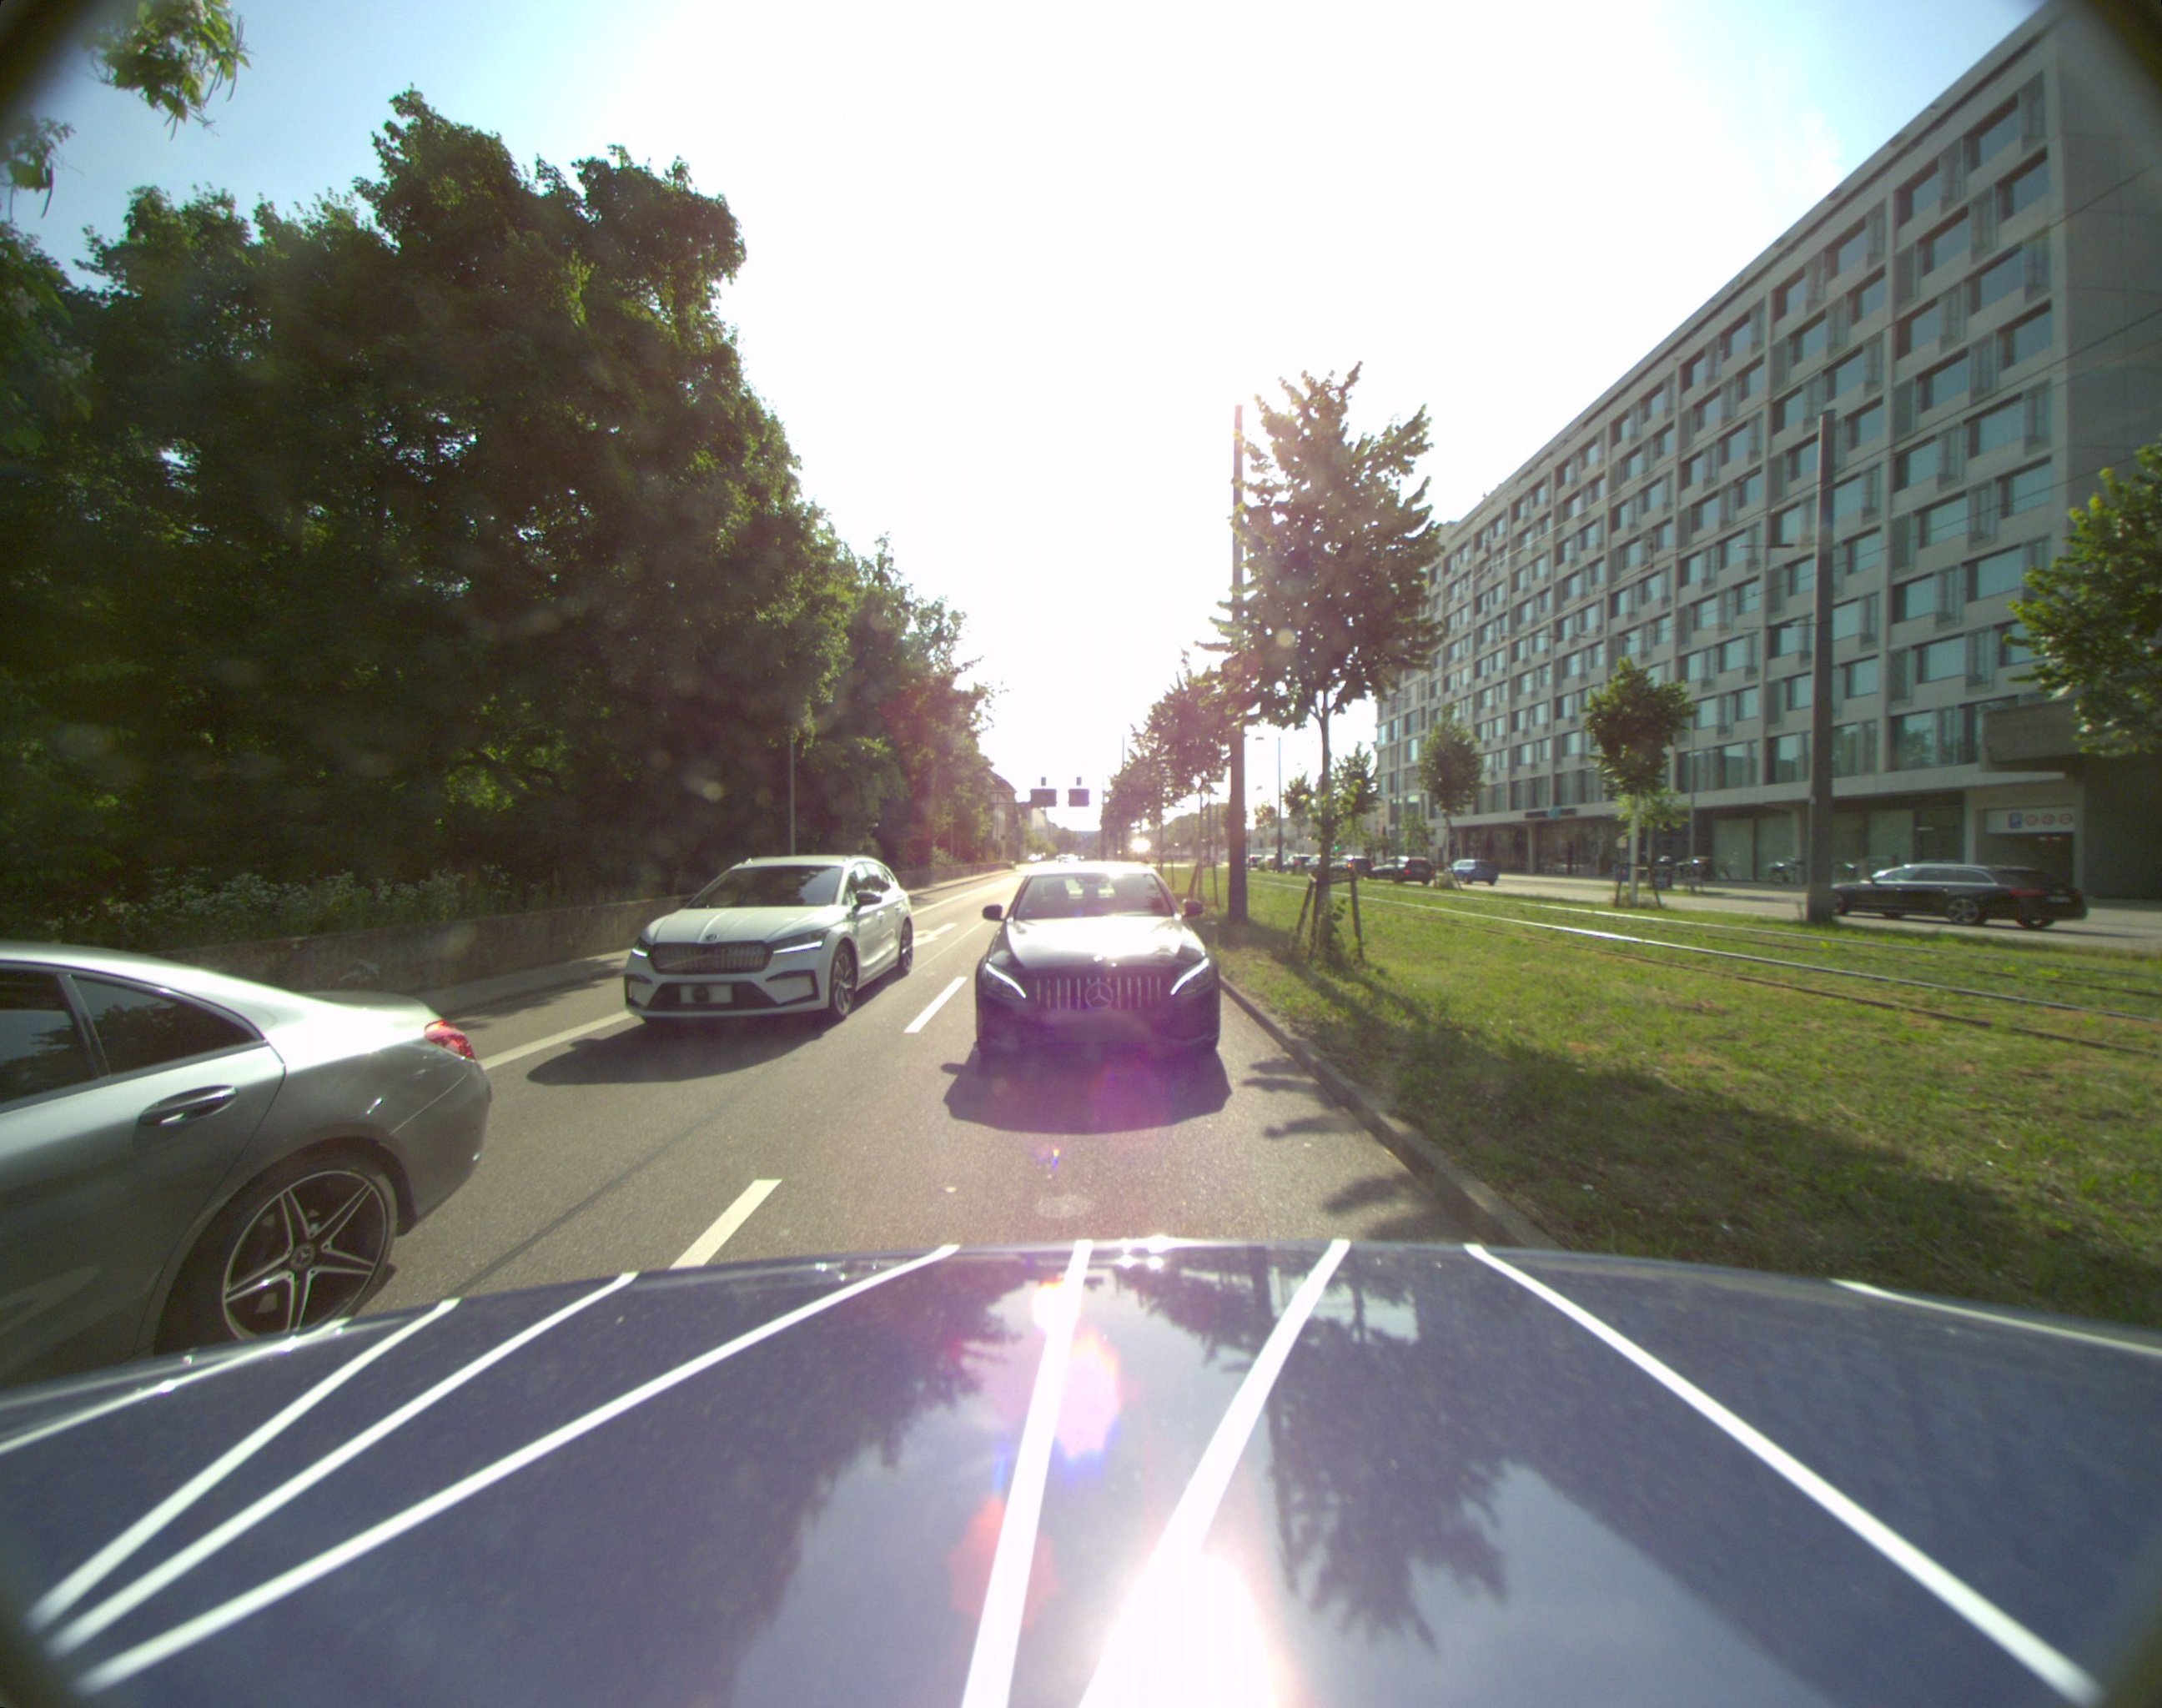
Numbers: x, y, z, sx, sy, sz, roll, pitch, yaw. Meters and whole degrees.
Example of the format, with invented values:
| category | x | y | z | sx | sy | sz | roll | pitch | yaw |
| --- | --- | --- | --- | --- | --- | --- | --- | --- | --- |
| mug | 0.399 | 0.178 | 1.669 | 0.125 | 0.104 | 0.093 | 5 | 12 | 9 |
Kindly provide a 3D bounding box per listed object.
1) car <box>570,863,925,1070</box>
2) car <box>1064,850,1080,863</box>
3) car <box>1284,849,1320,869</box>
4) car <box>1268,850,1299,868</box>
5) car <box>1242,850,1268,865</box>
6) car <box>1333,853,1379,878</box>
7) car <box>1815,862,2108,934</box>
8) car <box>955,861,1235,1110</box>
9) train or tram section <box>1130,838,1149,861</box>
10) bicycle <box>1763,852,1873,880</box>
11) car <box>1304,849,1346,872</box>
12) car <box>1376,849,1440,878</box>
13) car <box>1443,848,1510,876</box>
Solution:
| category | x | y | z | sx | sy | sz | roll | pitch | yaw |
| --- | --- | --- | --- | --- | --- | --- | --- | --- | --- |
| car | -3.131 | 0.939 | 8.265 | 1.897 | 1.561 | 4.250 | -1 | 0 | 1 |
| car | -1.148 | 0.257 | 96.553 | 1.998 | 1.630 | 4.000 | 0 | 0 | 0 |
| car | 17.355 | 0.354 | 59.784 | 1.812 | 1.565 | 4.000 | 0 | 0 | 3 |
| car | 17.648 | 0.400 | 66.324 | 1.812 | 1.466 | 4.000 | 0 | 0 | 3 |
| car | 17.500 | 0.323 | 76.572 | 1.787 | 1.516 | 4.000 | 0 | 0 | 1 |
| car | 17.272 | 0.680 | 47.926 | 1.745 | 1.478 | 3.641 | 0 | 0 | 3 |
| car | 21.331 | 0.989 | 18.767 | 1.999 | 1.482 | 4.417 | 0 | 0 | -4 |
| car | 0.121 | 0.876 | 7.224 | 1.760 | 1.437 | 4.617 | -2 | 1 | 1 |
| train or tram section | 9.156 | -0.697 | 119.027 | 2.500 | 3.409 | 6.669 | 0 | 0 | 1 |
| bicycle | 36.659 | 0.601 | 37.847 | 3.994 | 1.358 | 1.127 | 0 | 1 | 9 |
| car | 17.379 | 0.418 | 54.307 | 1.812 | 1.565 | 4.000 | 0 | 0 | 3 |
| car | 17.197 | 0.476 | 40.162 | 1.812 | 1.472 | 4.000 | 0 | 0 | 3 |
| car | 23.338 | 0.442 | 45.042 | 1.998 | 1.565 | 4.000 | 0 | 0 | 3 |
